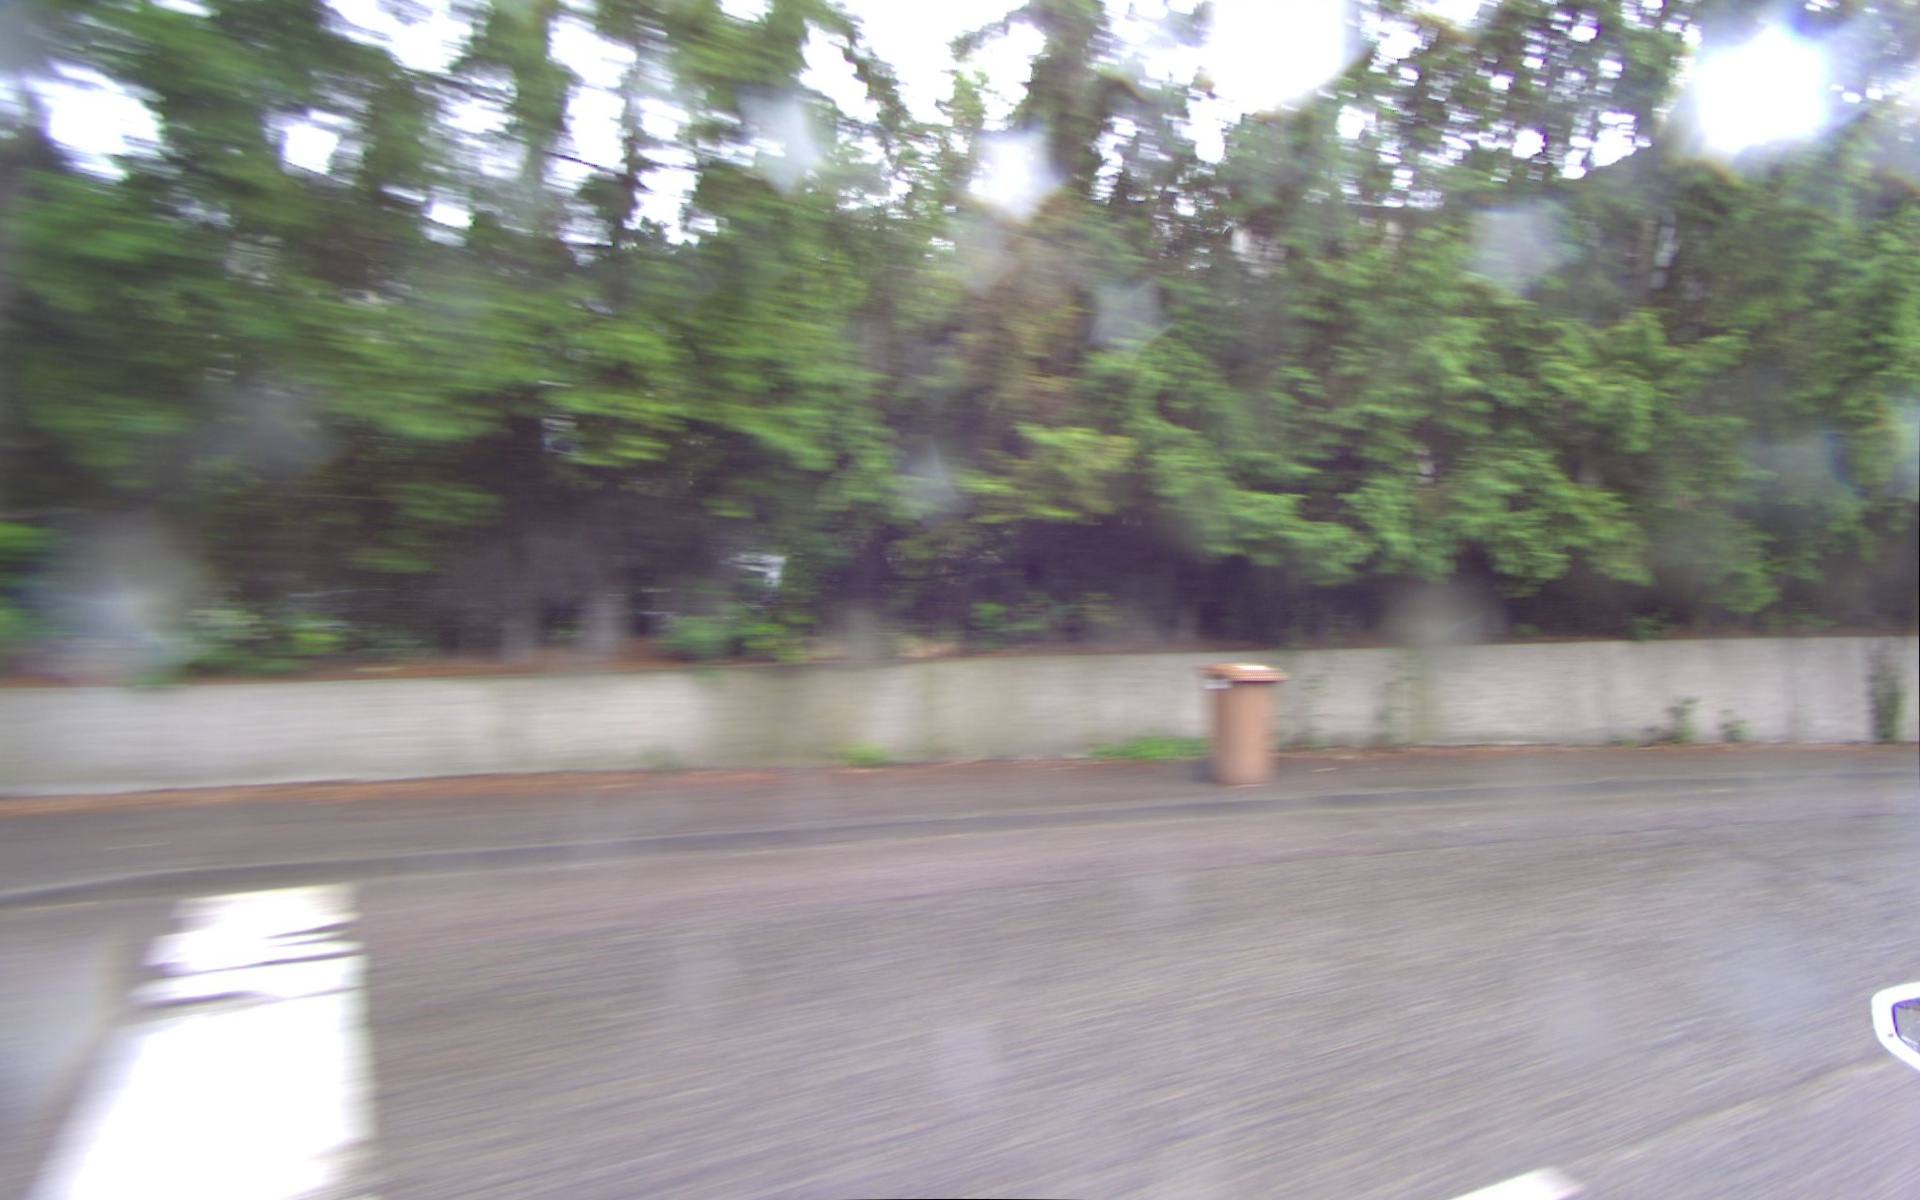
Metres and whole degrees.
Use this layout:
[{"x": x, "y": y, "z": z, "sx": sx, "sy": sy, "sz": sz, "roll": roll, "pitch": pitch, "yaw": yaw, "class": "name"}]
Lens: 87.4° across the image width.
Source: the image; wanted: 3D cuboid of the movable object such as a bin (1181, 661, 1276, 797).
[{"x": 2.111, "y": 1.000, "z": 7.931, "sx": 0.483, "sy": 0.992, "sz": 0.498, "roll": 2, "pitch": 1, "yaw": -23, "class": "movable object such as a bin"}]
